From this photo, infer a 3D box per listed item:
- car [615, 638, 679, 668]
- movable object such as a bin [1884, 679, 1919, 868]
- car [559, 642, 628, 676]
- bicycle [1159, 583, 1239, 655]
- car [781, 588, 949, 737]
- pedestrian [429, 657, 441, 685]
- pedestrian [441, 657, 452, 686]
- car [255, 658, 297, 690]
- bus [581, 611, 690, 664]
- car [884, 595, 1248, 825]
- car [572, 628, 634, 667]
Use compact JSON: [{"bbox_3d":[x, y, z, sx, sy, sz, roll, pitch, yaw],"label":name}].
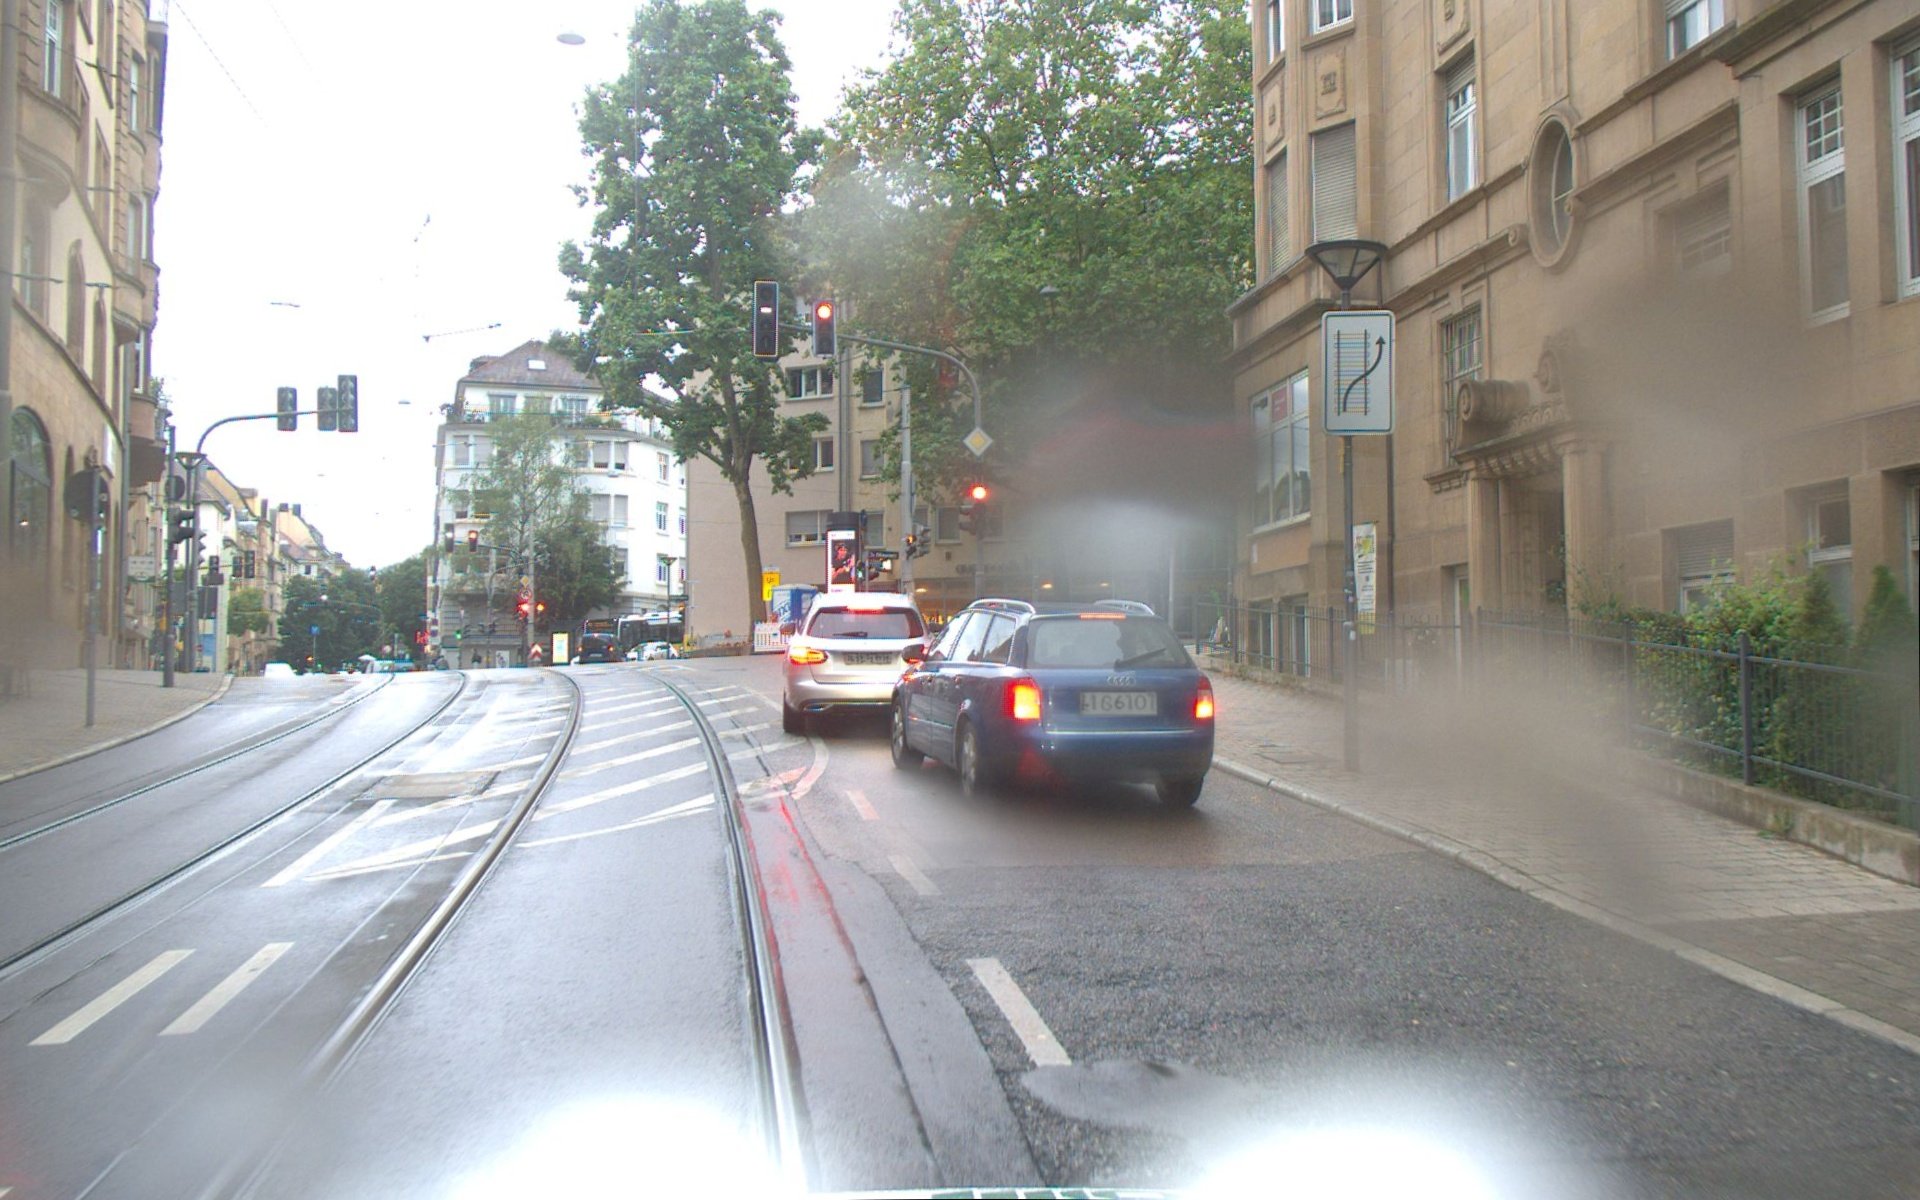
[{"bbox_3d":[-17.857,2.997,94.495,1.757,1.536,4.001,-1,0,20],"label":"car"},{"bbox_3d":[5.640,0.988,9.252,0.527,1.044,0.603,4,-2,-9],"label":"movable object such as a bin"},{"bbox_3d":[-19.717,3.168,89.241,1.757,1.642,4.001,-1,0,20],"label":"car"},{"bbox_3d":[4.219,0.333,29.225,1.276,1.194,0.525,-3,0,-10],"label":"bicycle"},{"bbox_3d":[-1.107,0.625,18.520,1.677,1.481,3.549,1,0,-5],"label":"car"},{"bbox_3d":[-32.142,4.335,101.235,0.638,1.690,0.647,1,0,-18],"label":"pedestrian"},{"bbox_3d":[-30.505,4.257,98.277,0.638,1.690,0.647,1,0,-18],"label":"pedestrian"},{"bbox_3d":[-38.089,4.081,91.999,1.773,1.537,4.624,-1,0,-27],"label":"car"},{"bbox_3d":[-19.670,2.223,100.865,2.794,2.911,8.739,-1,0,16],"label":"bus"},{"bbox_3d":[0.627,0.705,12.775,1.681,1.440,4.022,1,0,-14],"label":"car"},{"bbox_3d":[-15.966,2.109,74.068,1.757,1.536,4.001,-3,0,1],"label":"car"}]
